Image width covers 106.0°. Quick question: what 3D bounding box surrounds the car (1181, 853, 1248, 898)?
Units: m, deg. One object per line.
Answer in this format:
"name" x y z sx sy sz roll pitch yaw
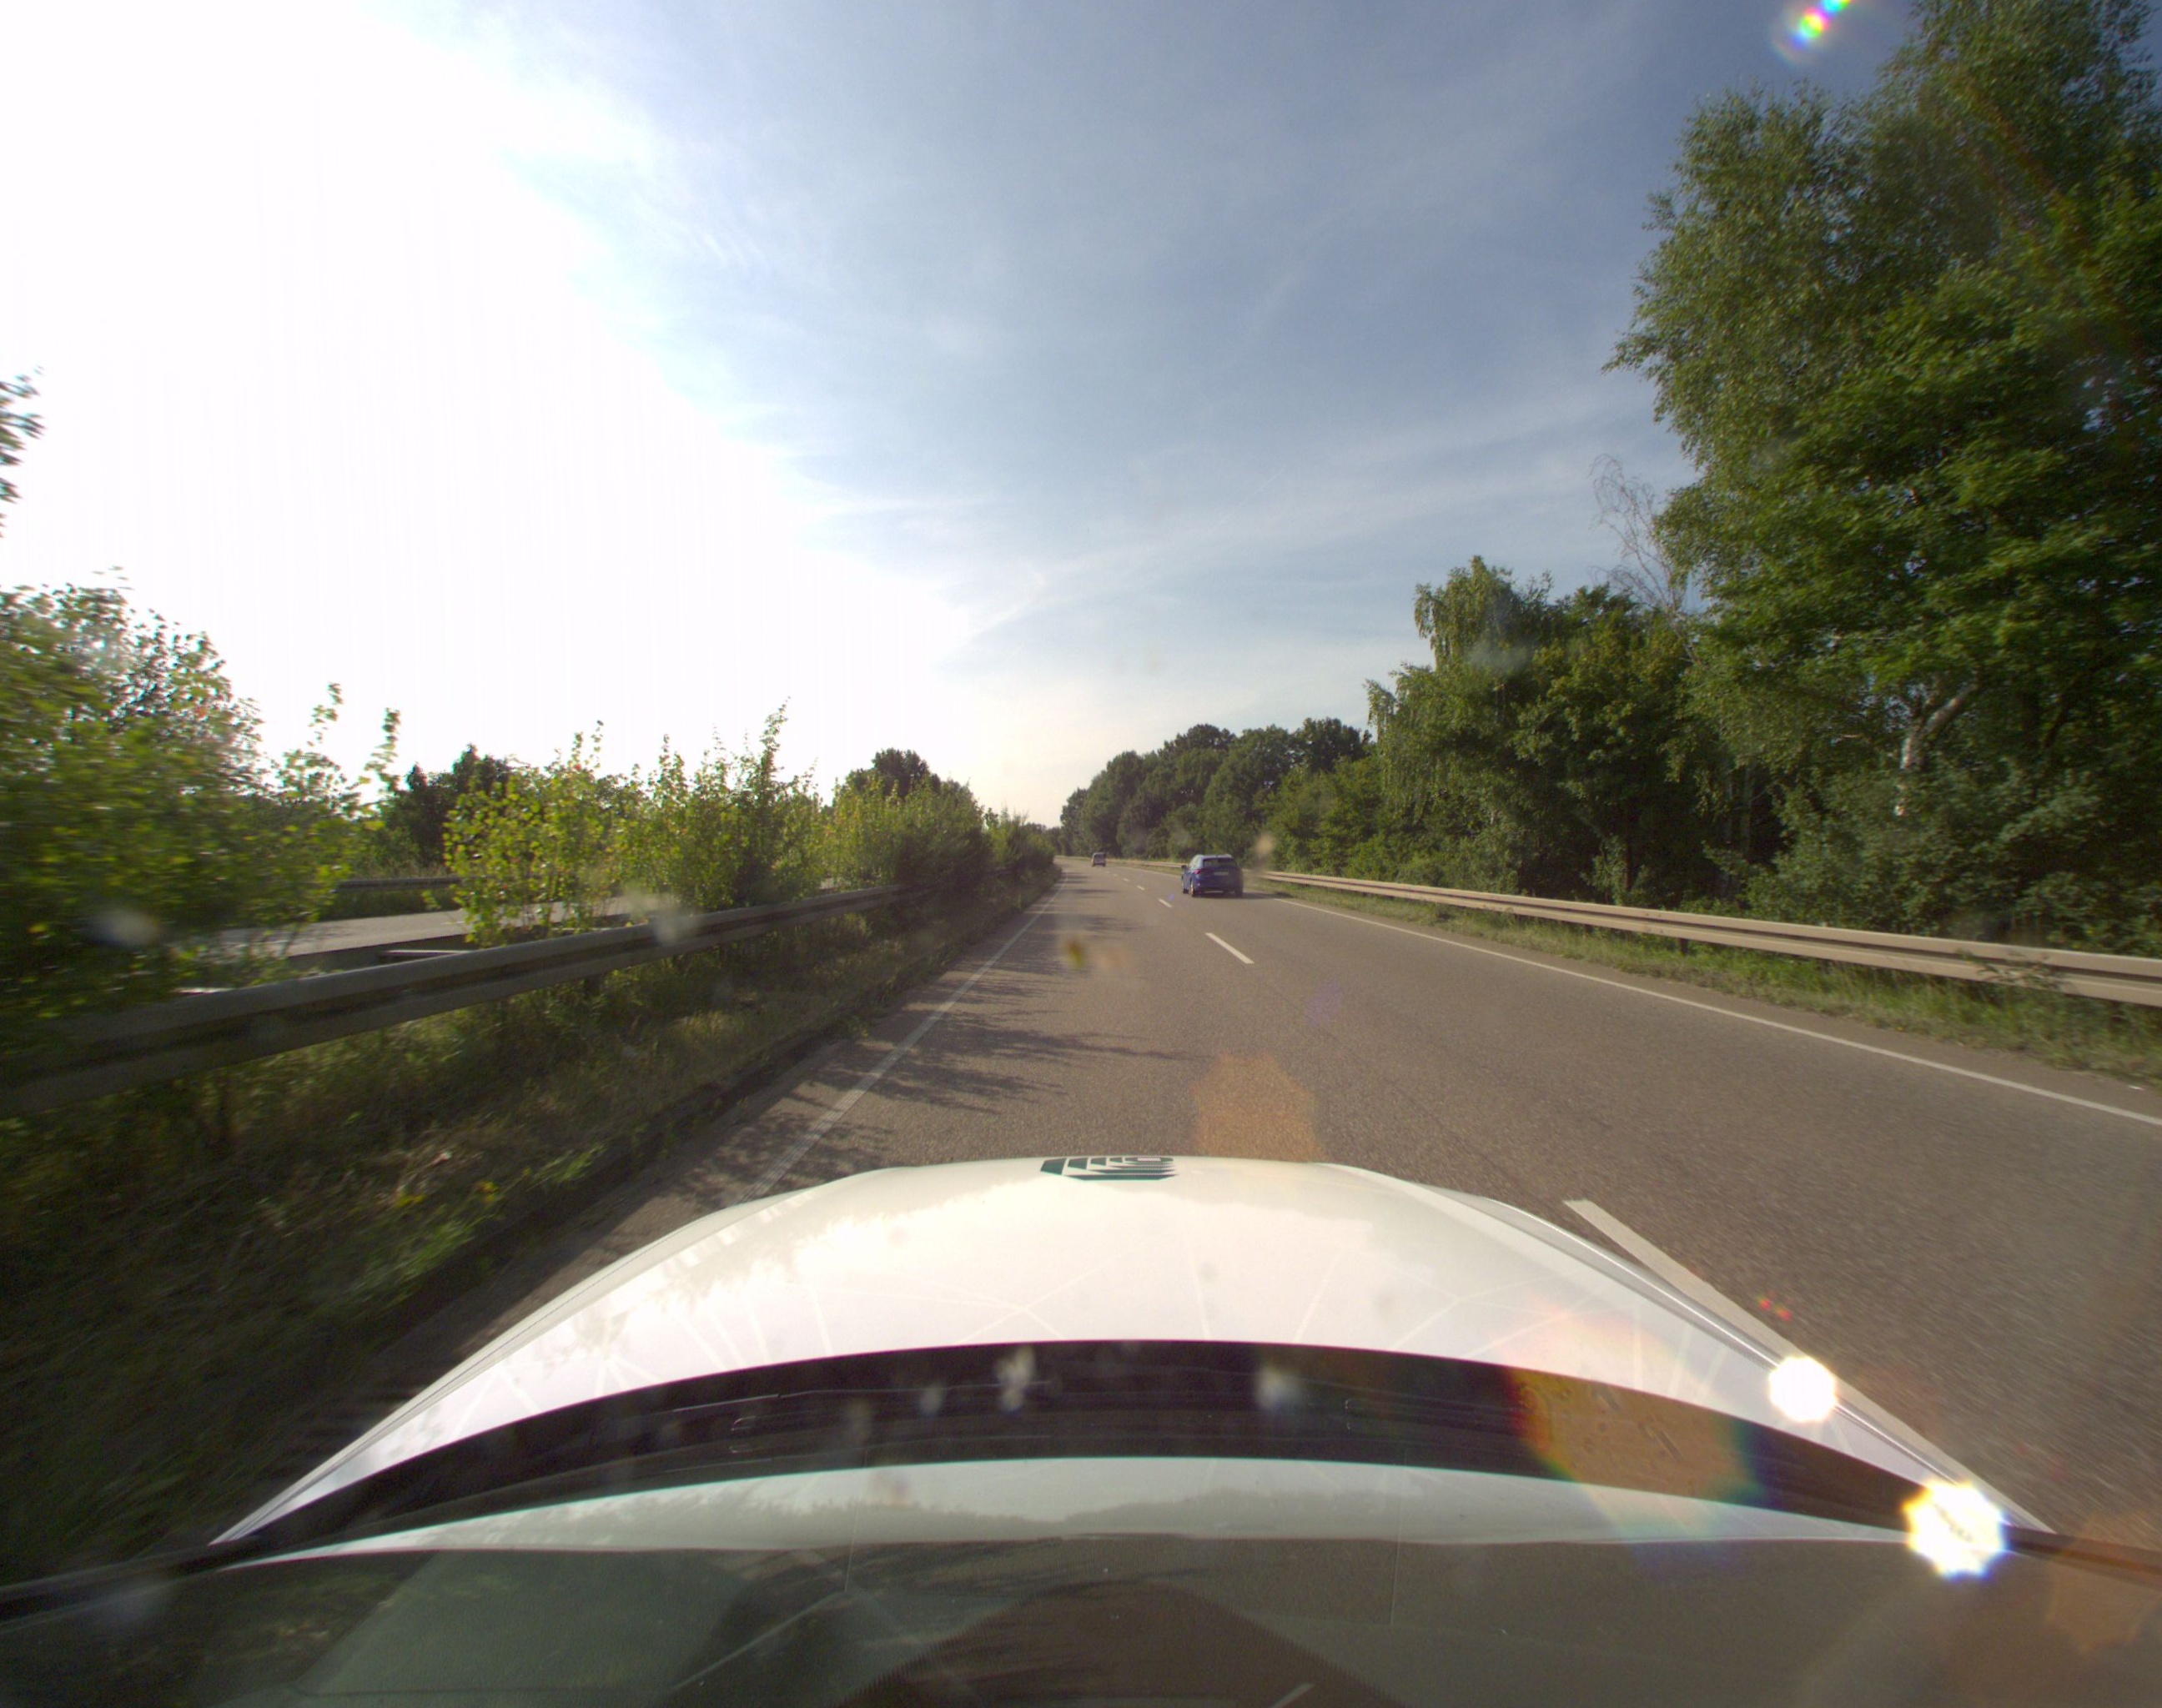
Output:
"car" 4.657 0.698 28.906 1.773 1.451 4.001 -1 0 1

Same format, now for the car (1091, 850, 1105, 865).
"car" 2.218 0.491 107.865 1.760 1.881 3.998 -1 1 -1
